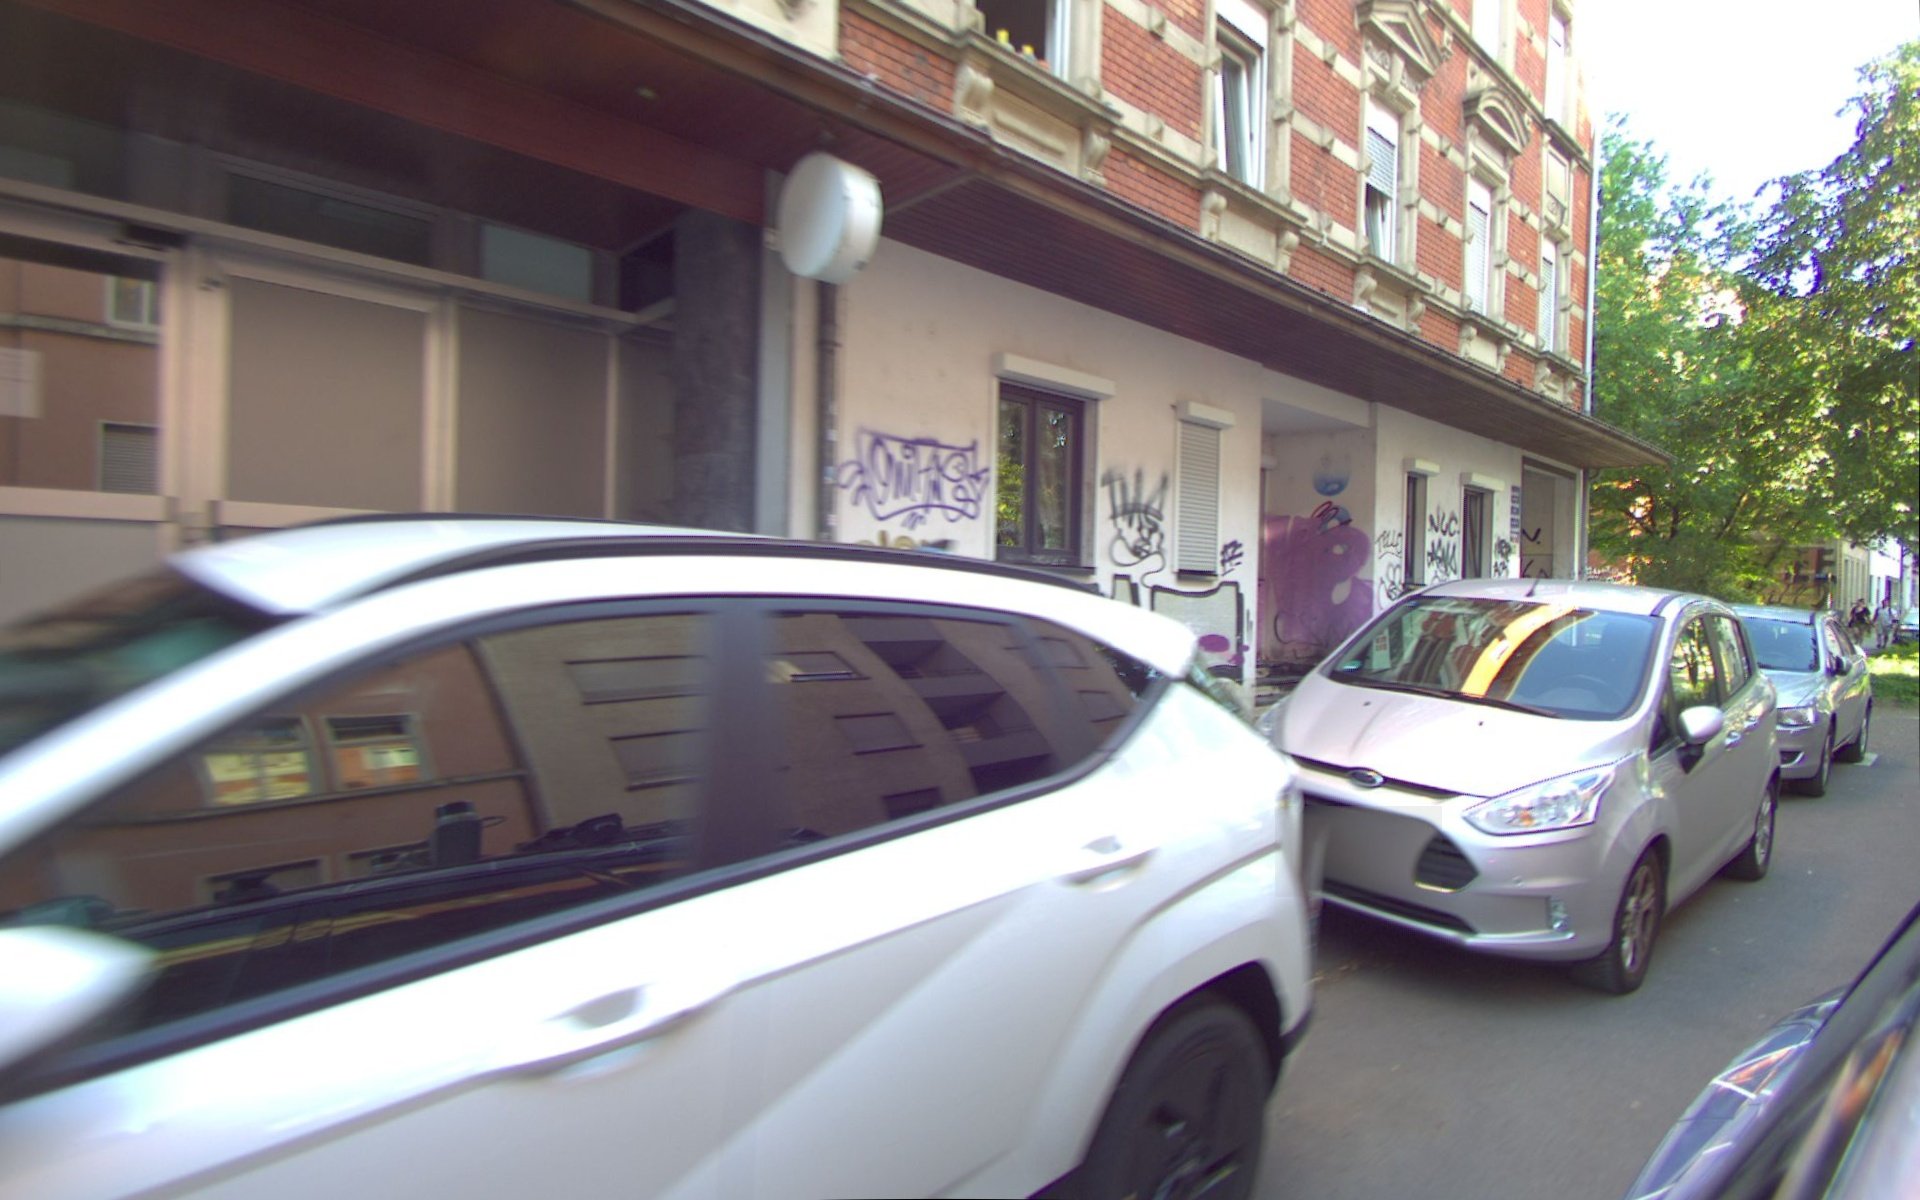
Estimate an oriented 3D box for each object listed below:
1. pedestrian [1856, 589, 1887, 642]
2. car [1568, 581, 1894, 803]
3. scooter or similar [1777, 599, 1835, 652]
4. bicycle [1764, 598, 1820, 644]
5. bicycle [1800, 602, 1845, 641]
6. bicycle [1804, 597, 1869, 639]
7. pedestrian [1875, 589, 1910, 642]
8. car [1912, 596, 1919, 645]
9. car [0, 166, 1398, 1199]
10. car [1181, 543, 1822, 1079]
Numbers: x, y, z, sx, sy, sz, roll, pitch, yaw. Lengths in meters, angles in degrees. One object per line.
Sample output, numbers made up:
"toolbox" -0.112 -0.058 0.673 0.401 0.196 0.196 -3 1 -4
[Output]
"pedestrian" 31.226 0.527 34.671 0.694 1.729 0.598 1 4 -43
"car" 7.306 0.664 9.410 4.324 1.582 1.723 1 1 -43
"scooter or similar" 21.999 0.647 26.336 0.539 1.277 1.466 2 2 16
"bicycle" 24.397 0.609 29.653 2.645 1.283 0.848 1 1 -42
"bicycle" 28.381 0.704 33.301 1.947 1.216 0.848 1 1 -41
"bicycle" 30.336 0.618 35.015 2.285 1.317 1.294 0 3 -40
"pedestrian" 31.894 0.531 34.596 0.739 1.729 0.711 1 4 -43
"car" 31.887 0.697 32.510 1.722 1.511 4.343 6 4 44
"car" -1.092 0.470 1.723 4.266 1.696 1.749 0 2 -42
"car" 2.917 0.633 5.058 3.803 1.677 1.642 0 1 -42
